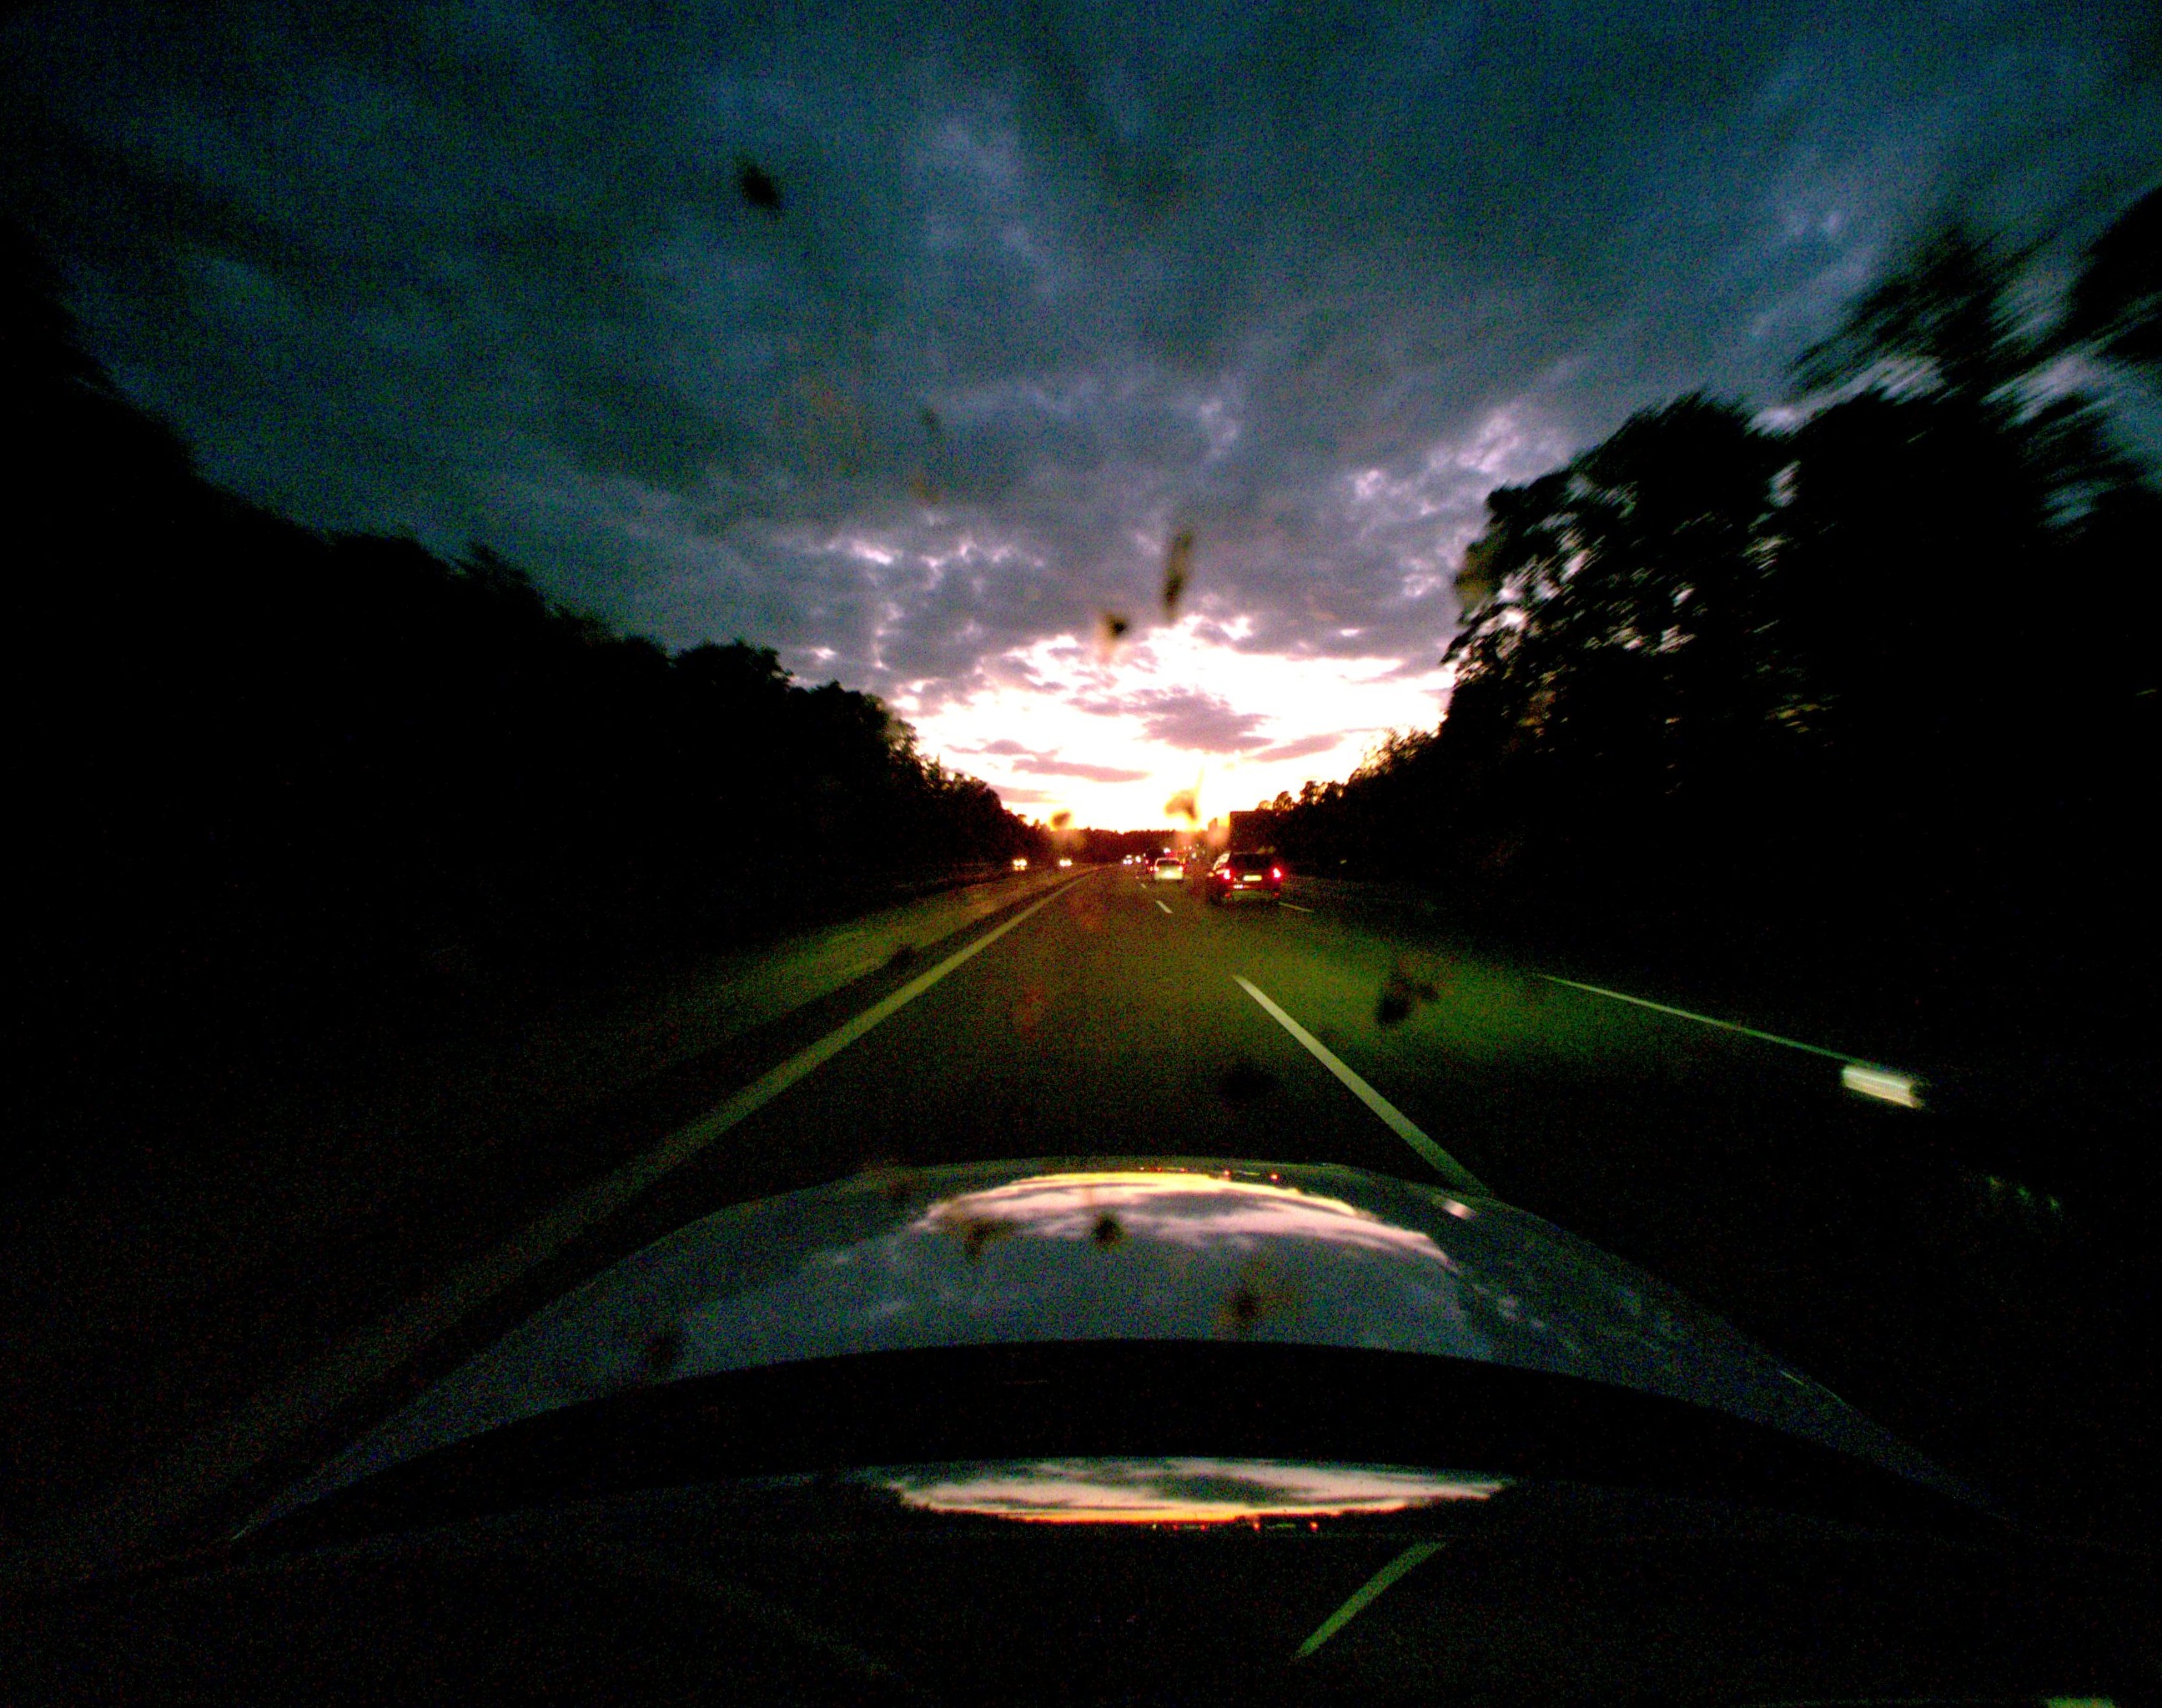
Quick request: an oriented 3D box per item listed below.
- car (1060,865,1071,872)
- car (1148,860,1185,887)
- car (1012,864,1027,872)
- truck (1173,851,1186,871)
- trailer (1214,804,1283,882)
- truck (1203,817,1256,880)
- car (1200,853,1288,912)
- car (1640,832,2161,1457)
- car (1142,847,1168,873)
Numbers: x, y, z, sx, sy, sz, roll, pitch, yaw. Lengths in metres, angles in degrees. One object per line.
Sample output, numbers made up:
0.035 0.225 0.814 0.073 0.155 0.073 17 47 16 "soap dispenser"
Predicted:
-3.301 3.048 172.996 1.833 1.463 4.783 1 0 6 "car"
4.909 1.094 47.232 1.852 1.442 3.722 -1 1 2 "car"
-11.943 2.712 158.751 1.831 1.463 4.012 1 0 11 "car"
31.386 2.317 258.887 4.127 5.857 14.323 -1 -1 7 "truck"
9.677 -0.486 48.185 2.893 4.101 10.373 -1 -1 6 "trailer"
10.505 -0.274 58.759 2.871 4.101 10.848 -1 -1 6 "truck"
4.970 0.819 25.539 1.896 1.643 5.054 -1 0 2 "car"
3.602 0.720 1.301 1.902 1.537 5.232 -1 1 1 "car"
7.402 0.642 81.344 2.153 2.419 5.577 -1 -1 9 "car"
